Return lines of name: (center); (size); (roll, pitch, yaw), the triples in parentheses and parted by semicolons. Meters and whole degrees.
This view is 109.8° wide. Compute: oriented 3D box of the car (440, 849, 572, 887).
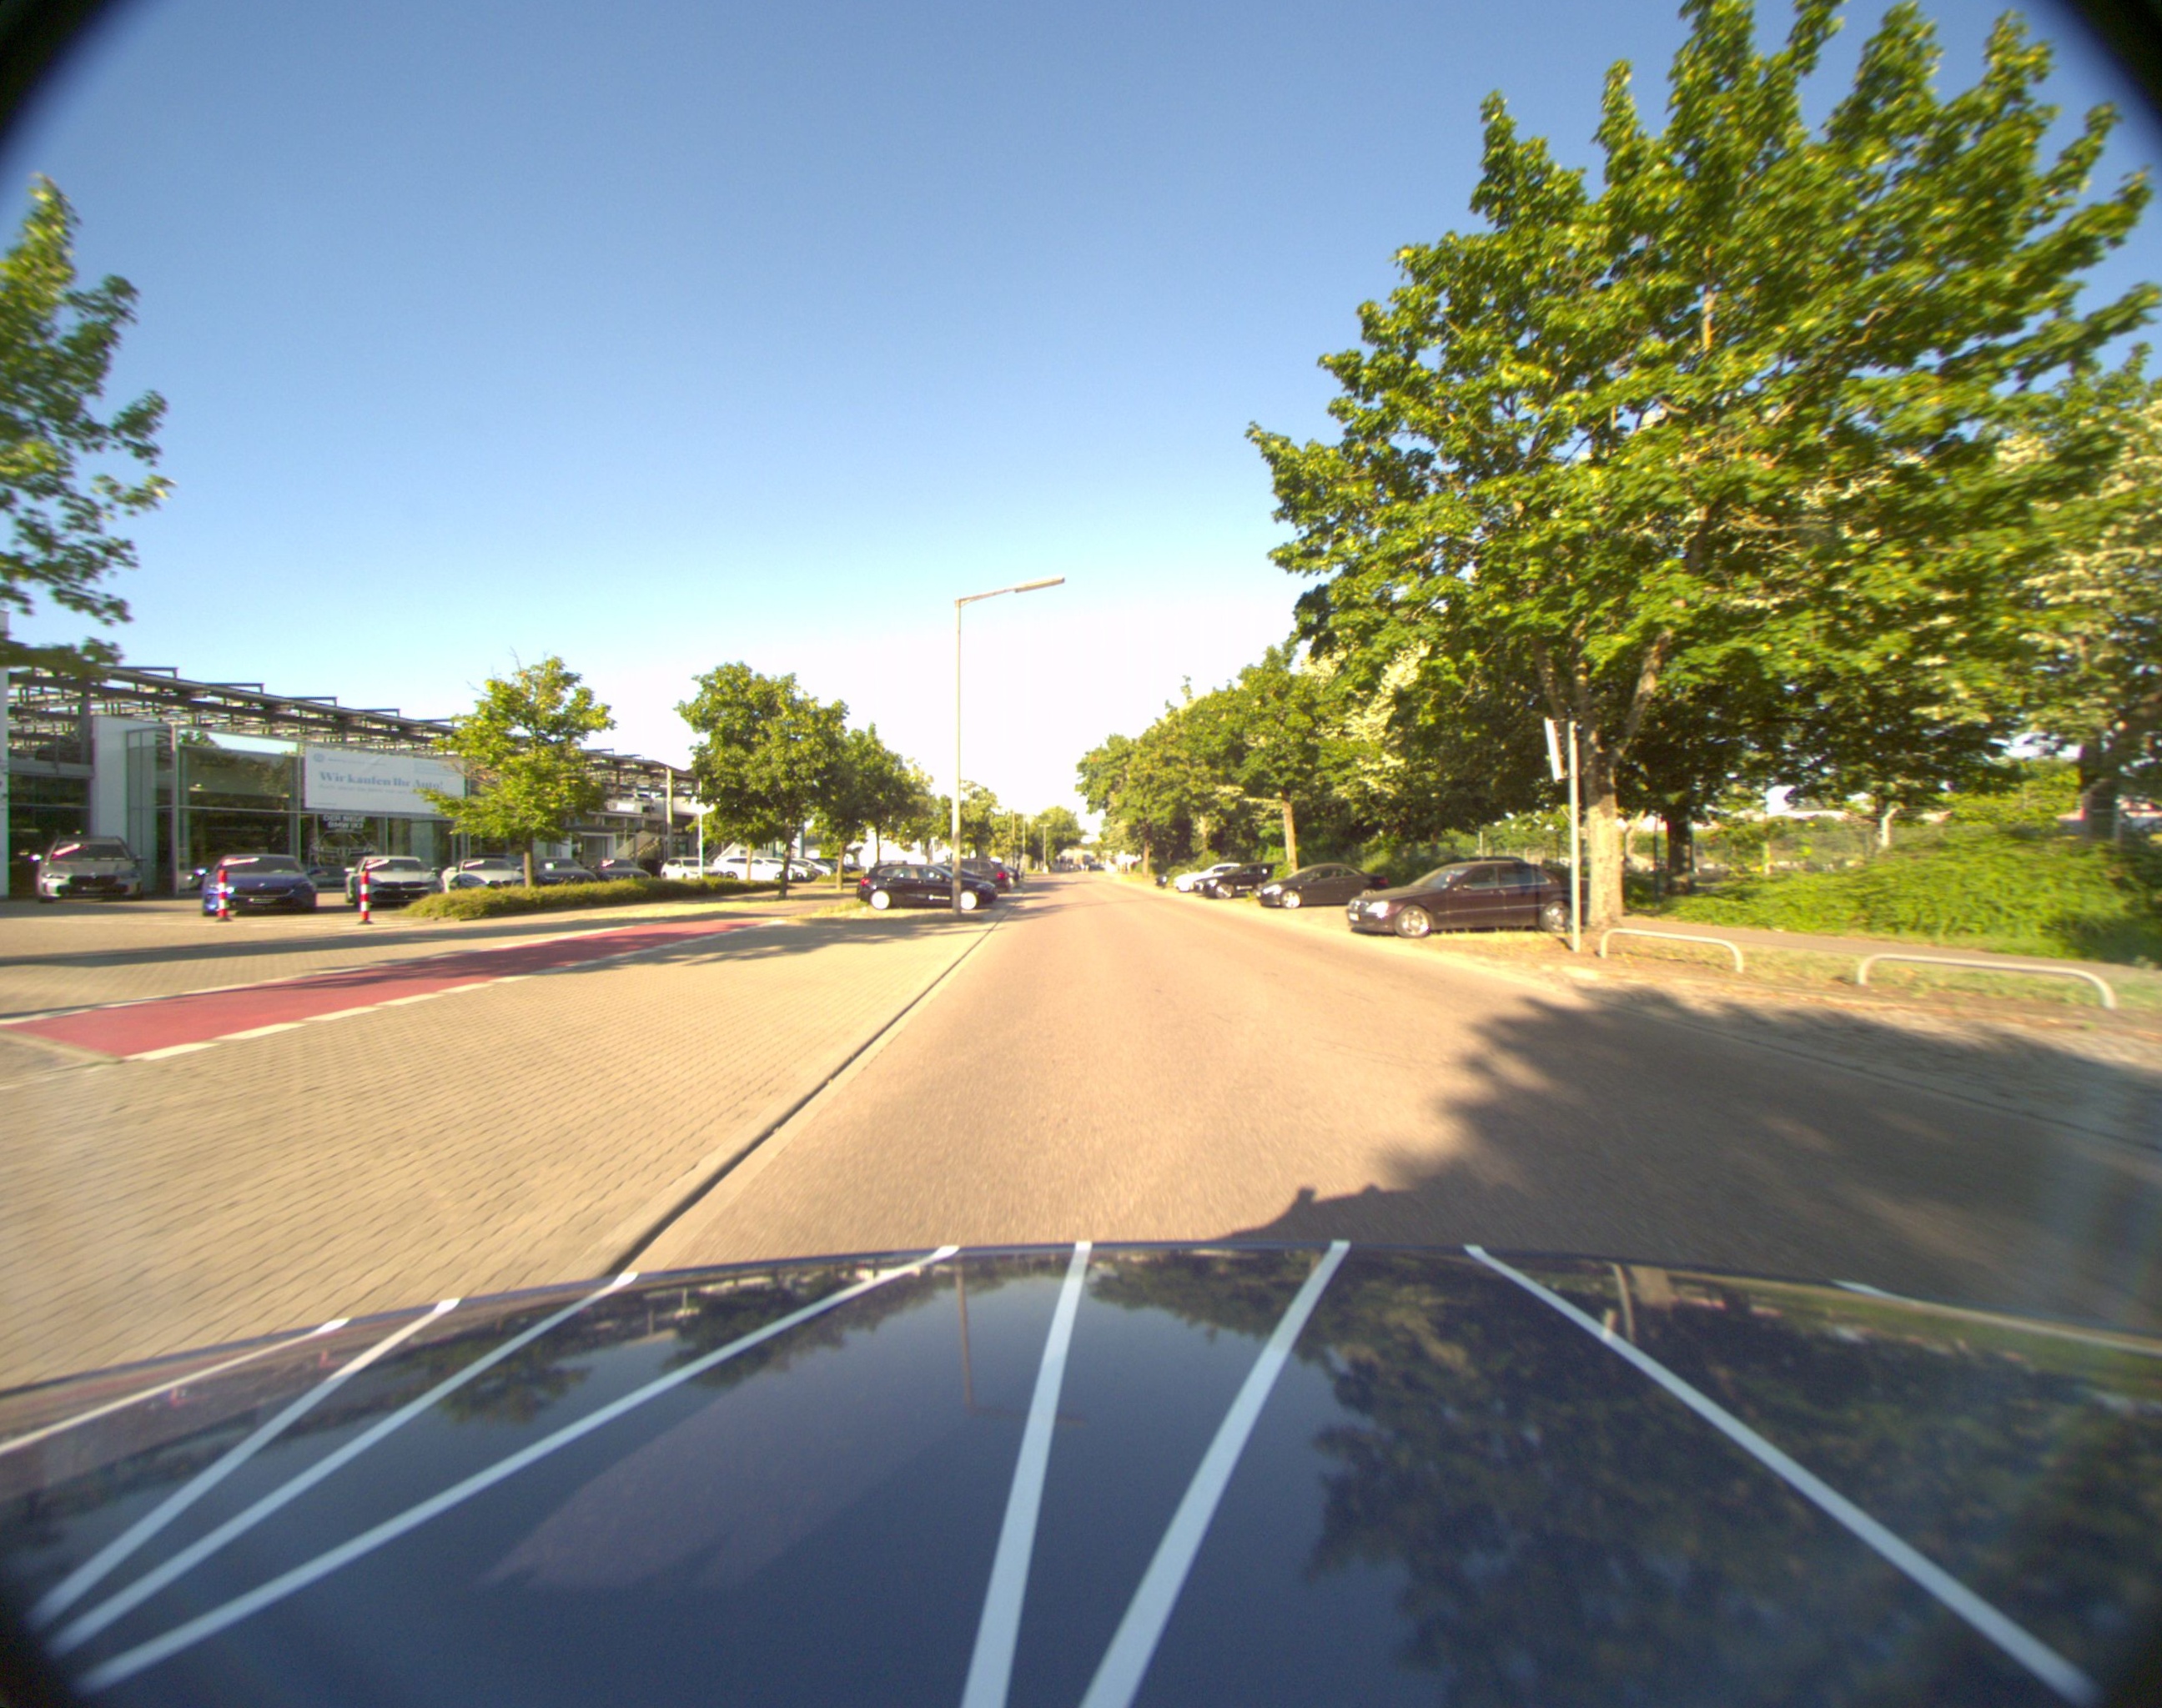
car: (-28.122, 0.683, 37.358); (4.794, 1.763, 1.997); (1, 0, -19)

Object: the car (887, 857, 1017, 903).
car: (-5.003, 0.995, 30.020); (4.706, 1.740, 2.192); (0, 0, 2)

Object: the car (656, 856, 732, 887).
car: (-21.098, 0.928, 41.360); (5.176, 1.562, 2.004); (0, 0, 43)

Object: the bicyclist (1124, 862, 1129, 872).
bicyclist: (6.805, 1.909, 114.111); (0.733, 1.521, 0.951); (0, 0, -3)

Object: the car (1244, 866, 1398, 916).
car: (7.976, 1.193, 25.548); (4.492, 1.453, 2.000); (-2, 0, -3)

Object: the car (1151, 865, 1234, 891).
car: (6.792, 1.462, 46.478); (4.663, 1.413, 1.916); (-2, 0, -5)

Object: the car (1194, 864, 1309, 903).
car: (7.350, 1.254, 33.137); (4.492, 1.521, 2.000); (-2, 0, -3)

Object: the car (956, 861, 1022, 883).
car: (-6.741, 1.324, 56.042); (4.637, 1.447, 2.000); (2, 0, -3)

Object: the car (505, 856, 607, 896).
car: (-20.719, 0.811, 29.910); (4.775, 1.455, 2.004); (0, 0, 38)

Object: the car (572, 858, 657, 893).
car: (-20.854, 0.910, 33.875); (4.775, 1.455, 2.004); (0, -1, 43)

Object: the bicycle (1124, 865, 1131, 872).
bicycle: (7.024, 2.152, 114.013); (0.768, 1.033, 2.217); (0, 0, -3)

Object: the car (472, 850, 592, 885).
car: (-29.040, 0.732, 40.394); (4.794, 1.763, 1.997); (1, 0, -19)

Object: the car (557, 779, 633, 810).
car: (-31.807, -3.882, 49.723); (3.994, 1.656, 1.789); (-3, -1, 11)

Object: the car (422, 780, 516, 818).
car: (-33.372, -2.972, 41.473); (3.994, 1.656, 1.789); (-3, -1, 10)

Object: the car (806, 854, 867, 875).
car: (-20.902, 0.896, 65.057); (4.613, 1.656, 1.995); (2, -1, -29)

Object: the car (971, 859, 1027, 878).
car: (-6.833, 1.235, 63.643); (4.604, 1.575, 1.999); (0, 0, -6)

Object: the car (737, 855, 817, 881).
car: (-19.813, 0.925, 49.565); (4.613, 1.564, 1.995); (2, -1, -30)

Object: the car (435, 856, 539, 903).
car: (-20.467, 0.826, 26.114); (4.775, 1.455, 2.004); (0, 0, 42)

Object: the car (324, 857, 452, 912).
car: (-20.578, 0.819, 22.504); (4.775, 1.455, 2.051); (0, 0, 38)

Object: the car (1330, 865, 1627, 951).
car: (7.977, 1.043, 15.580); (5.049, 1.453, 2.000); (-2, 0, -3)

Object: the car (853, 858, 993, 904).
car: (-5.429, 0.936, 26.593); (4.493, 1.541, 2.033); (0, -1, -1)

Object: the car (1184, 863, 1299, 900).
car: (7.469, 1.281, 35.651); (4.864, 1.521, 1.999); (-2, 0, -6)

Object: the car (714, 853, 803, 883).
car: (-19.781, 0.864, 46.612); (4.737, 1.680, 2.405); (2, -1, -30)

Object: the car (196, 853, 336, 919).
car: (-20.397, 0.720, 18.957); (4.775, 1.455, 2.005); (0, -1, 38)

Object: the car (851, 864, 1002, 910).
car: (-4.830, 1.036, 24.333); (4.494, 1.395, 2.033); (0, 0, -3)

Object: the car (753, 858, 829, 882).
car: (-19.937, 1.101, 52.329); (4.613, 1.564, 1.995); (2, -1, -30)

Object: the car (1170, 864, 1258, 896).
car: (7.096, 1.382, 40.786); (4.298, 1.521, 2.000); (-2, 0, -2)

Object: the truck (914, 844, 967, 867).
truck: (-22.026, 0.258, 118.897); (8.230, 3.501, 3.122); (0, 0, 33)

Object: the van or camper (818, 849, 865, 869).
van or camper: (-41.262, 0.886, 130.670); (8.118, 3.309, 2.419); (0, 0, 24)

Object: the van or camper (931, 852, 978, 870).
van or camper: (-21.808, 1.180, 130.865); (7.989, 2.883, 2.949); (0, 0, 28)

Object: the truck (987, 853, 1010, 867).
truck: (-16.192, 1.278, 149.038); (2.542, 2.703, 5.979); (0, -1, 14)

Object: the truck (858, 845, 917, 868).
truck: (-31.719, 0.418, 124.262); (10.091, 3.623, 3.302); (0, 0, 32)

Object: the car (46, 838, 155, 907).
car: (-31.032, 0.535, 24.111); (4.170, 2.002, 2.004); (1, 0, 38)

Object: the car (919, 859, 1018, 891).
car: (-5.528, 1.037, 37.889); (4.708, 1.470, 2.000); (2, 0, -3)

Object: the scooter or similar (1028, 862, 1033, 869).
scooter or similar: (-9.404, 2.162, 140.413); (0.547, 1.189, 1.483); (0, -1, 11)

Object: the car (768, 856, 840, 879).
car: (-20.260, 0.975, 55.604); (4.613, 1.564, 1.995); (2, -1, -30)

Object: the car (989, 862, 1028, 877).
car: (-7.965, 1.698, 83.766); (4.210, 1.435, 2.087); (2, 0, -5)
